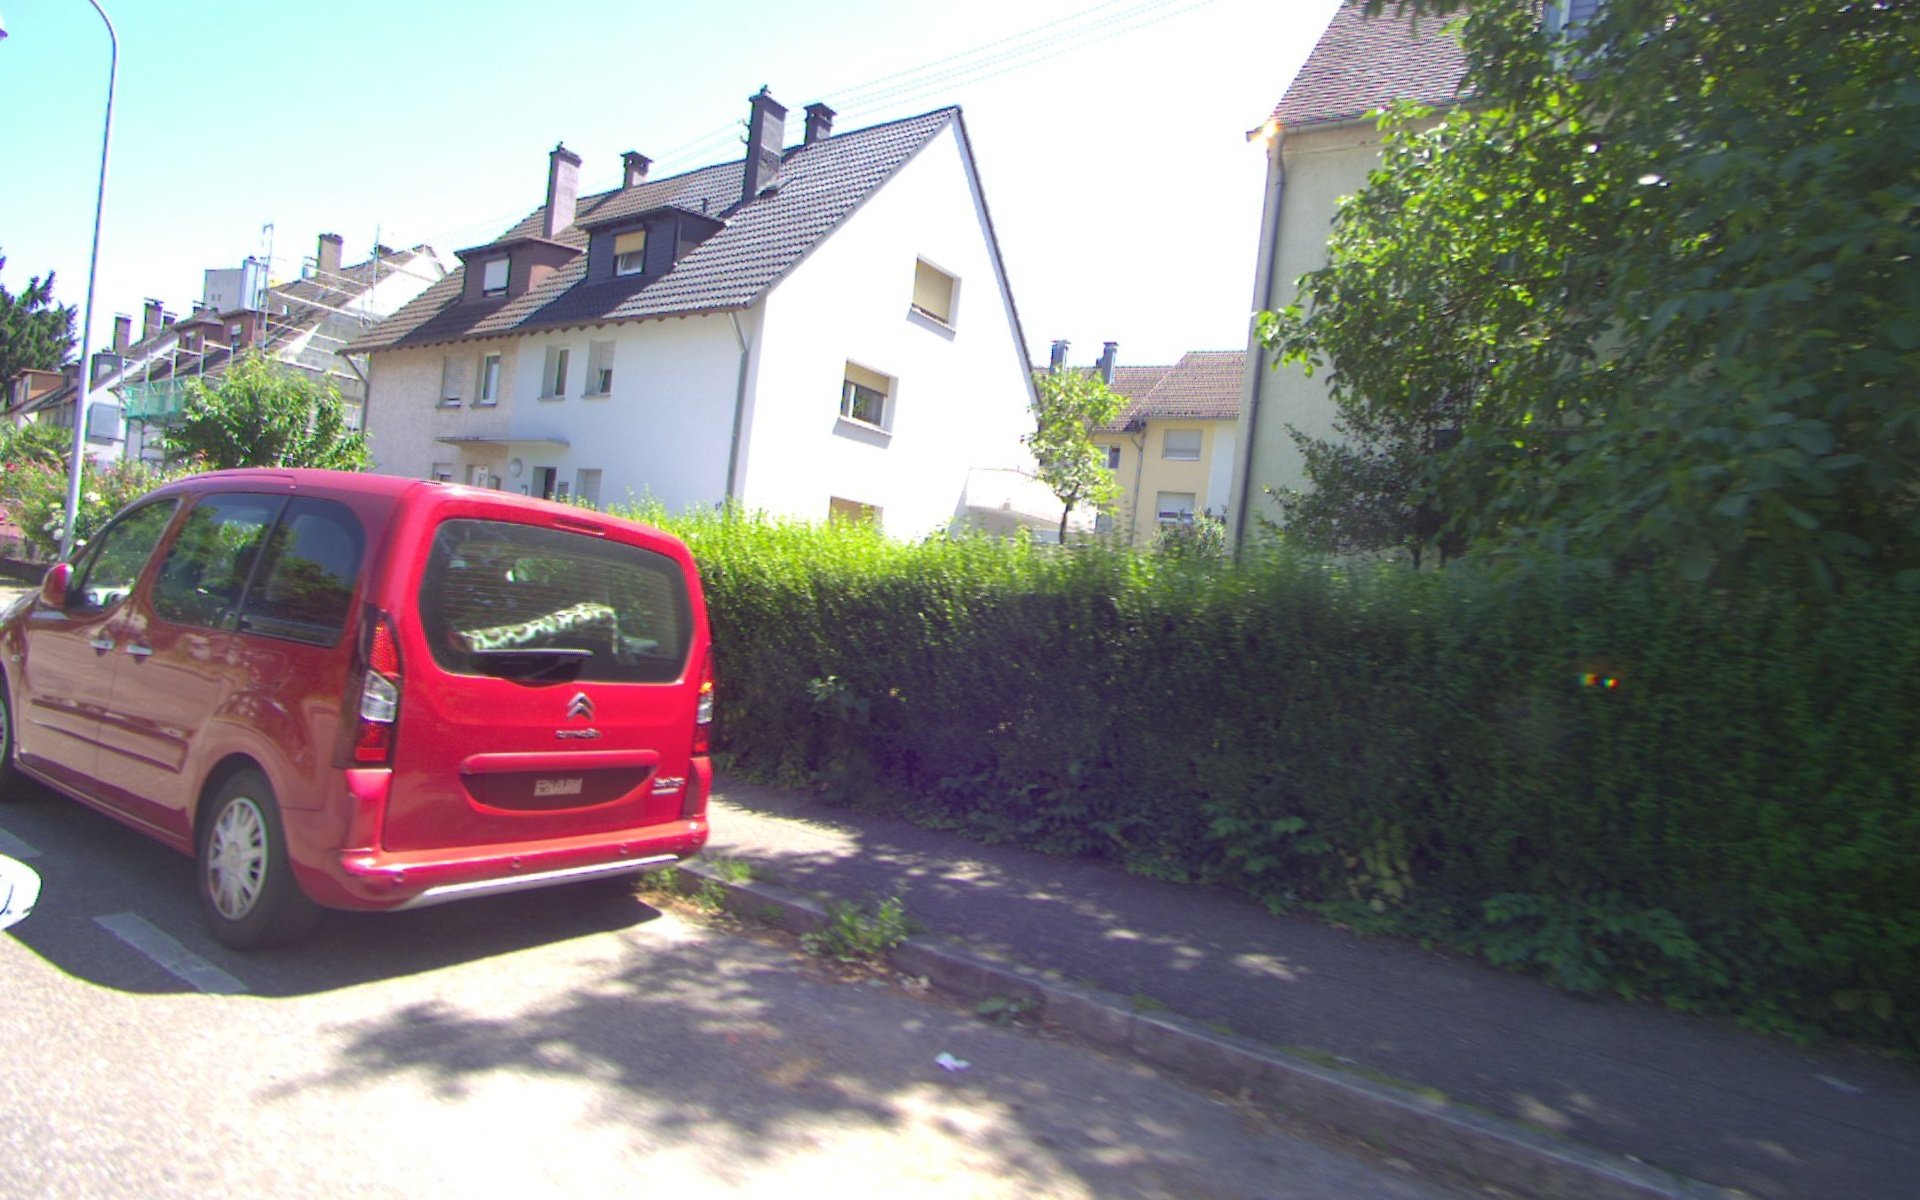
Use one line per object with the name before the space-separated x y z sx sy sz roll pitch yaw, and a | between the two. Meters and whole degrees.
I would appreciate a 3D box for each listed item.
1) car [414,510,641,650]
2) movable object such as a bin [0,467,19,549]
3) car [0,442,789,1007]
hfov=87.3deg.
car | -7.373 -0.389 16.942 4.337 1.881 1.740 8 3 41
movable object such as a bin | -34.538 -3.385 34.267 1.681 2.779 3.147 6 -1 36
car | -3.232 0.307 5.066 4.318 1.747 1.907 6 -3 31
